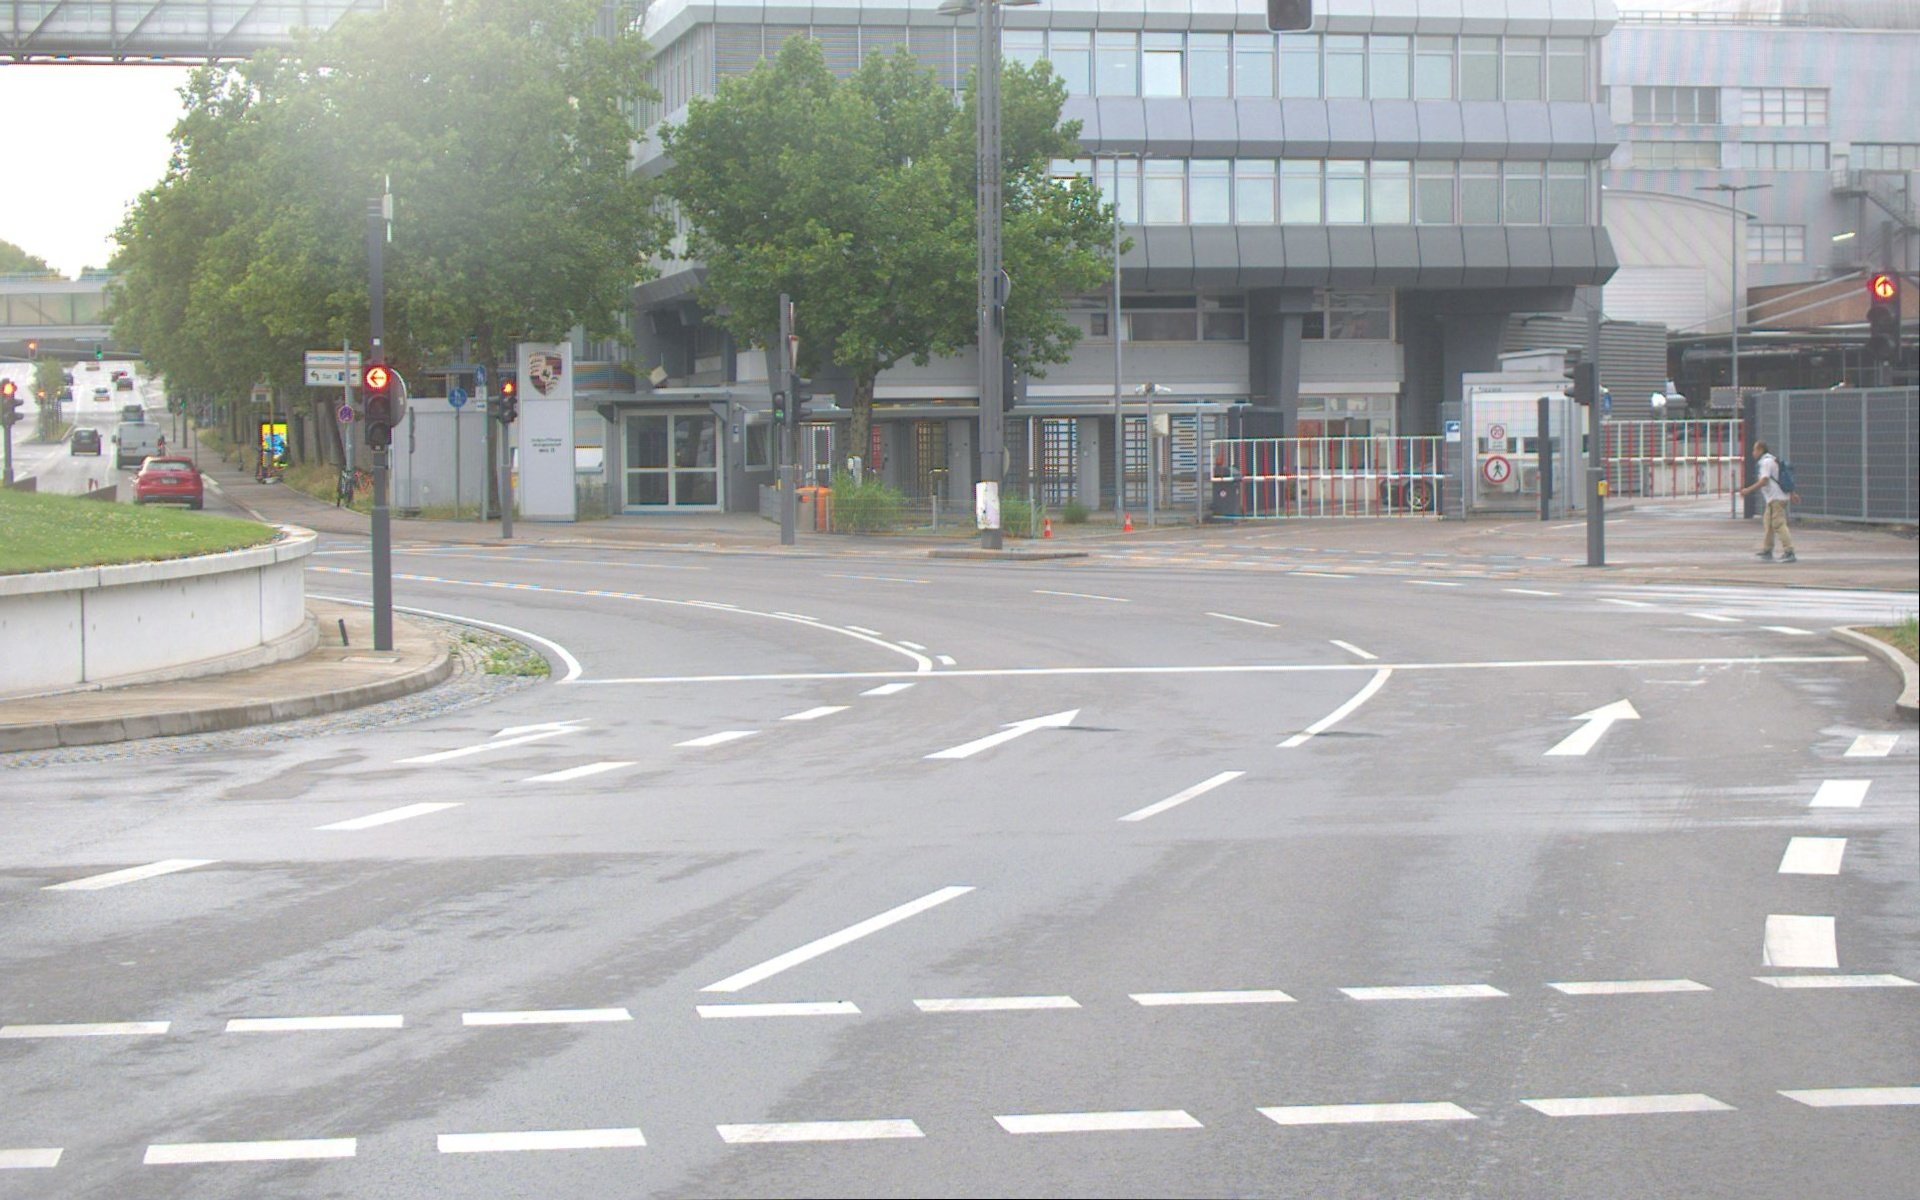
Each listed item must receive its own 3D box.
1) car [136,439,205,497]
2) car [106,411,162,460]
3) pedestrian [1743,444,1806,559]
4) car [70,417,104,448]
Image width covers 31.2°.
[{"bbox_3d":[-21.387,-3.555,93.171,1.772,1.459,3.734,-1,0,-12],"label":"car"},{"bbox_3d":[-39.168,-7.792,162.899,2.232,2.100,4.956,-1,0,-17],"label":"car"},{"bbox_3d":[11.547,-1.386,48.723,0.808,1.605,0.769,-1,0,17],"label":"pedestrian"},{"bbox_3d":[-49.791,-9.533,196.005,1.762,1.620,3.431,-1,0,-16],"label":"car"}]
